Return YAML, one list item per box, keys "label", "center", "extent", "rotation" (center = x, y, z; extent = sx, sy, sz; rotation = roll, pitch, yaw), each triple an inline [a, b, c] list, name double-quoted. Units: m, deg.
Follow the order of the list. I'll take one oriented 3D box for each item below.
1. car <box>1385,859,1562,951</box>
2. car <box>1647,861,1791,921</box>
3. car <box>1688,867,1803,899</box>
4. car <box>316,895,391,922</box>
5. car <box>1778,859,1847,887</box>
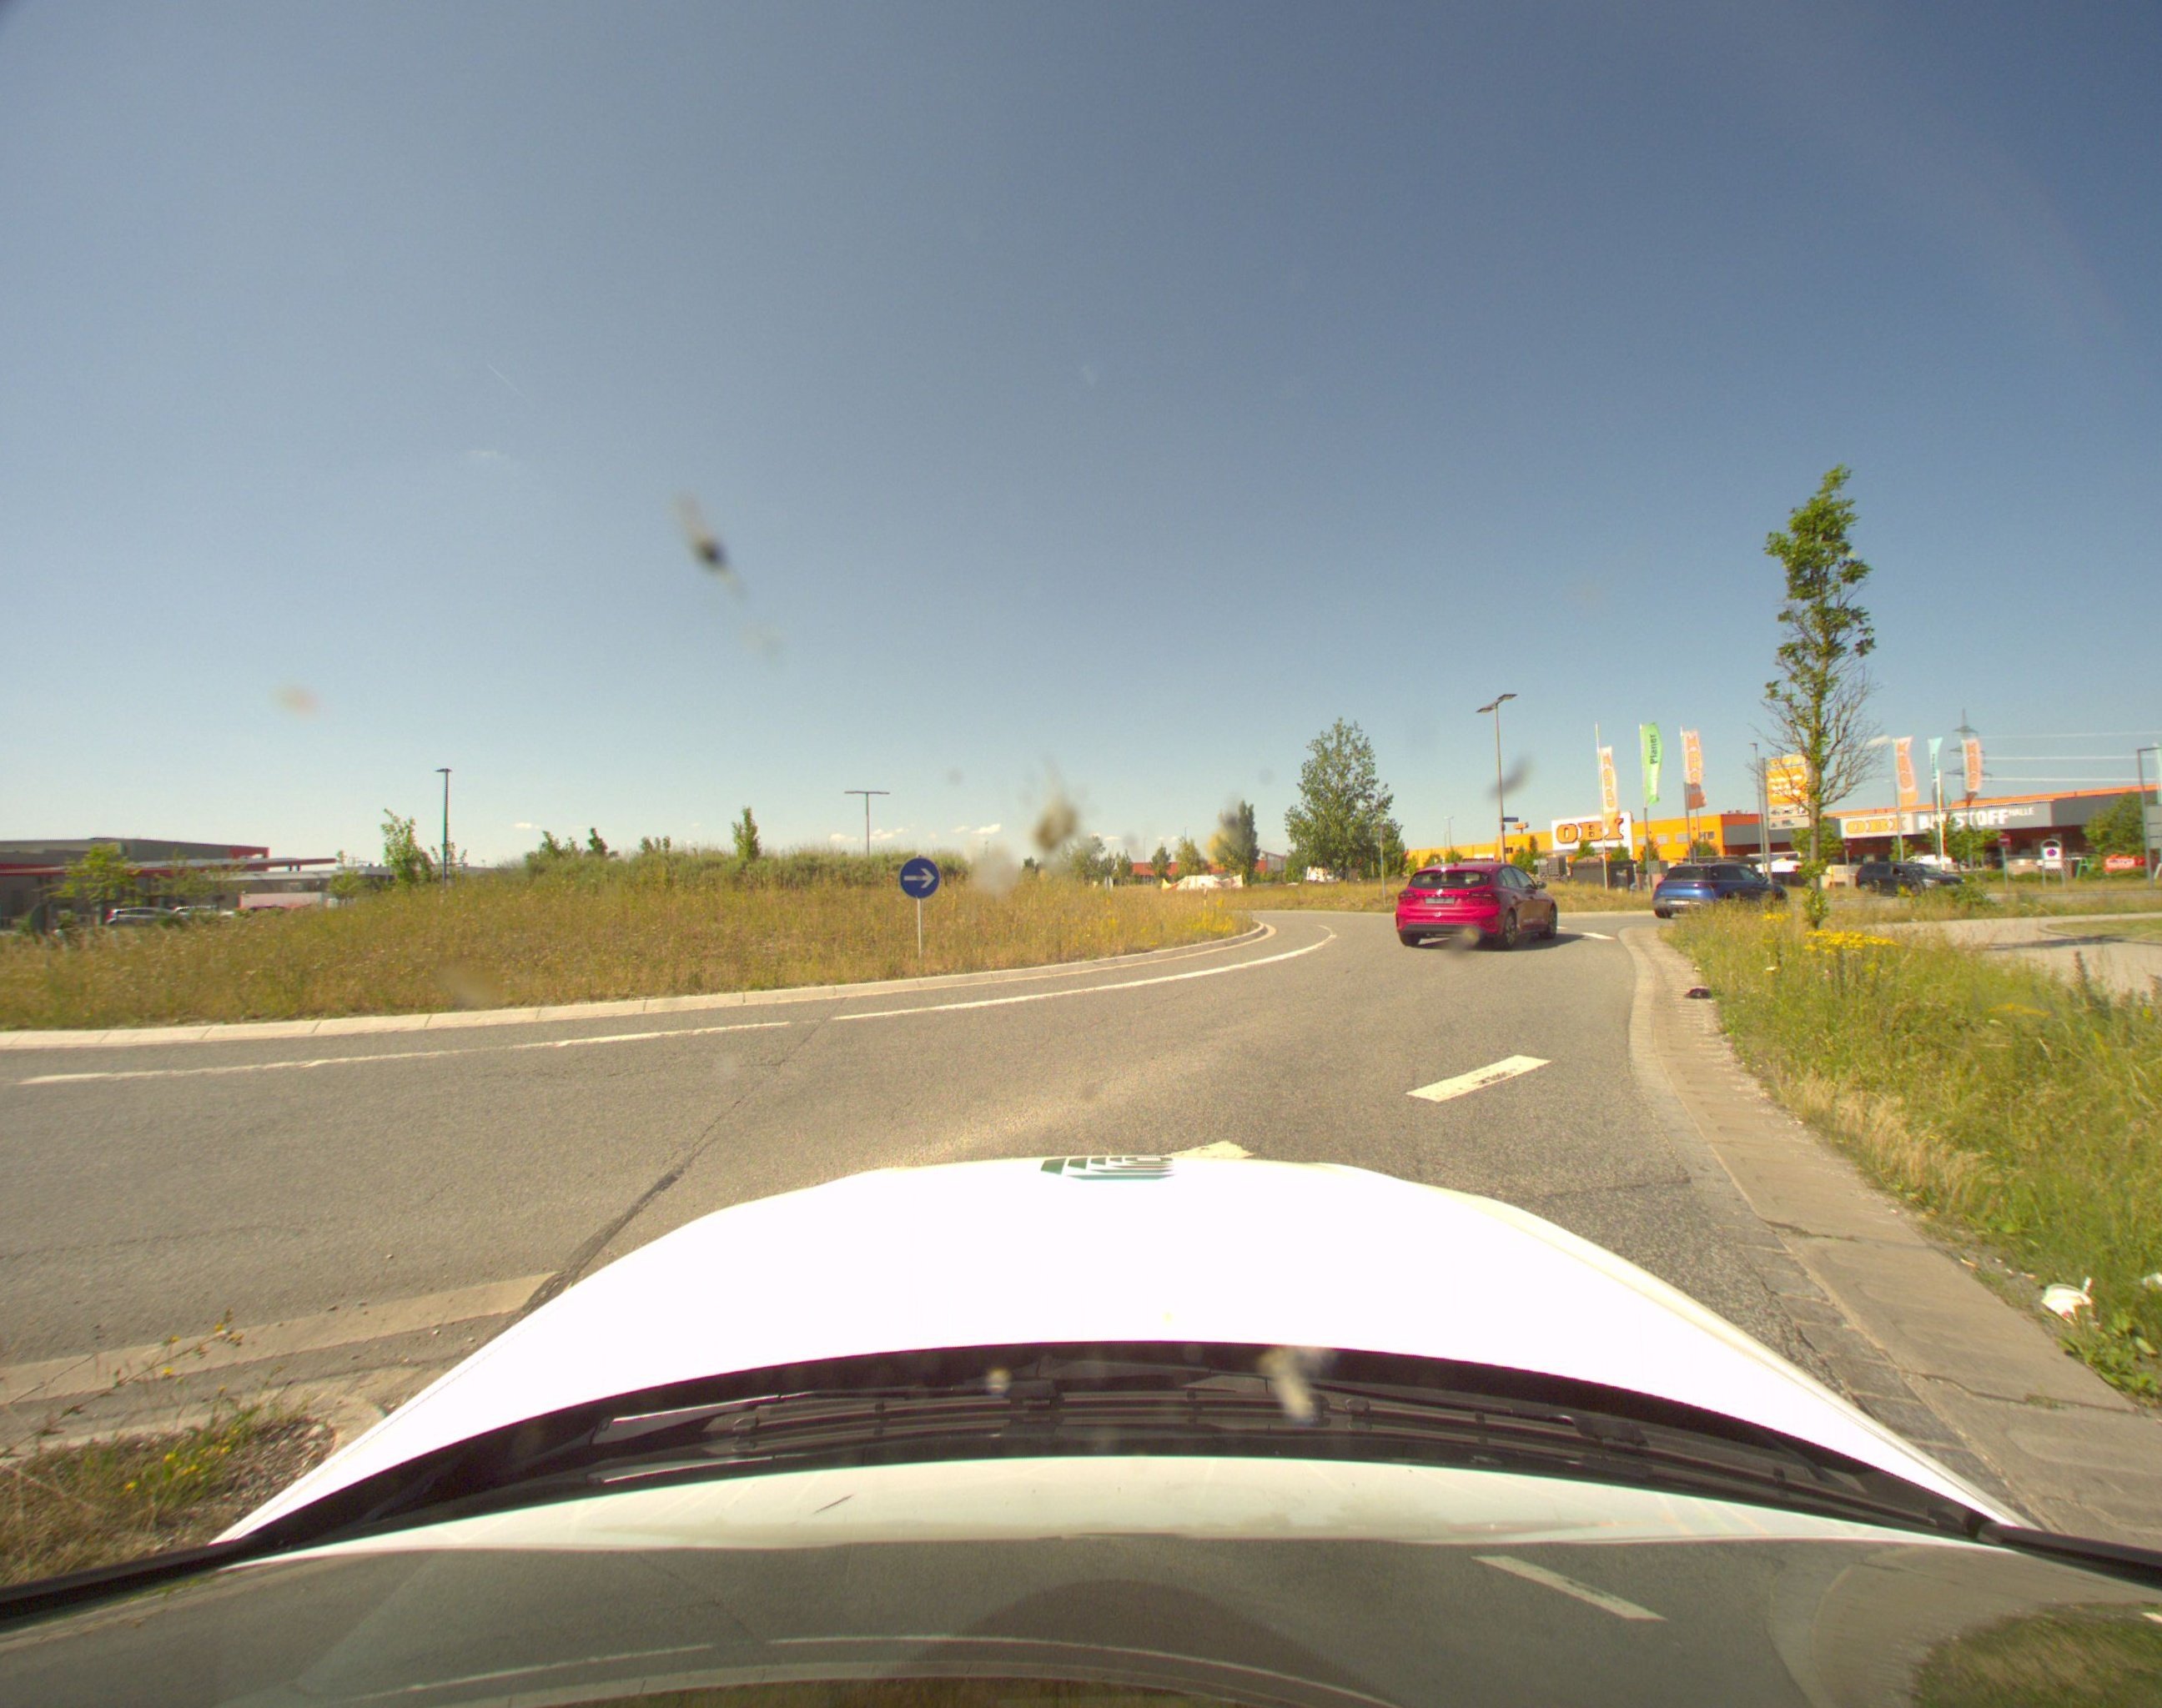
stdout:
- label: "car"
  center: [7.221, 0.831, 14.757]
  extent: [1.785, 1.416, 4.142]
  rotation: [-3, -2, 42]
- label: "car"
  center: [18.796, 1.040, 23.974]
  extent: [4.091, 1.635, 1.839]
  rotation: [0, -2, -29]
- label: "car"
  center: [38.317, 1.724, 47.111]
  extent: [2.078, 1.627, 4.665]
  rotation: [0, -4, -19]
- label: "car"
  center: [-57.638, 4.259, 64.674]
  extent: [1.994, 2.014, 5.116]
  rotation: [-1, -3, -11]
- label: "car"
  center: [50.470, 1.326, 56.239]
  extent: [3.767, 1.841, 1.692]
  rotation: [1, -3, -14]
